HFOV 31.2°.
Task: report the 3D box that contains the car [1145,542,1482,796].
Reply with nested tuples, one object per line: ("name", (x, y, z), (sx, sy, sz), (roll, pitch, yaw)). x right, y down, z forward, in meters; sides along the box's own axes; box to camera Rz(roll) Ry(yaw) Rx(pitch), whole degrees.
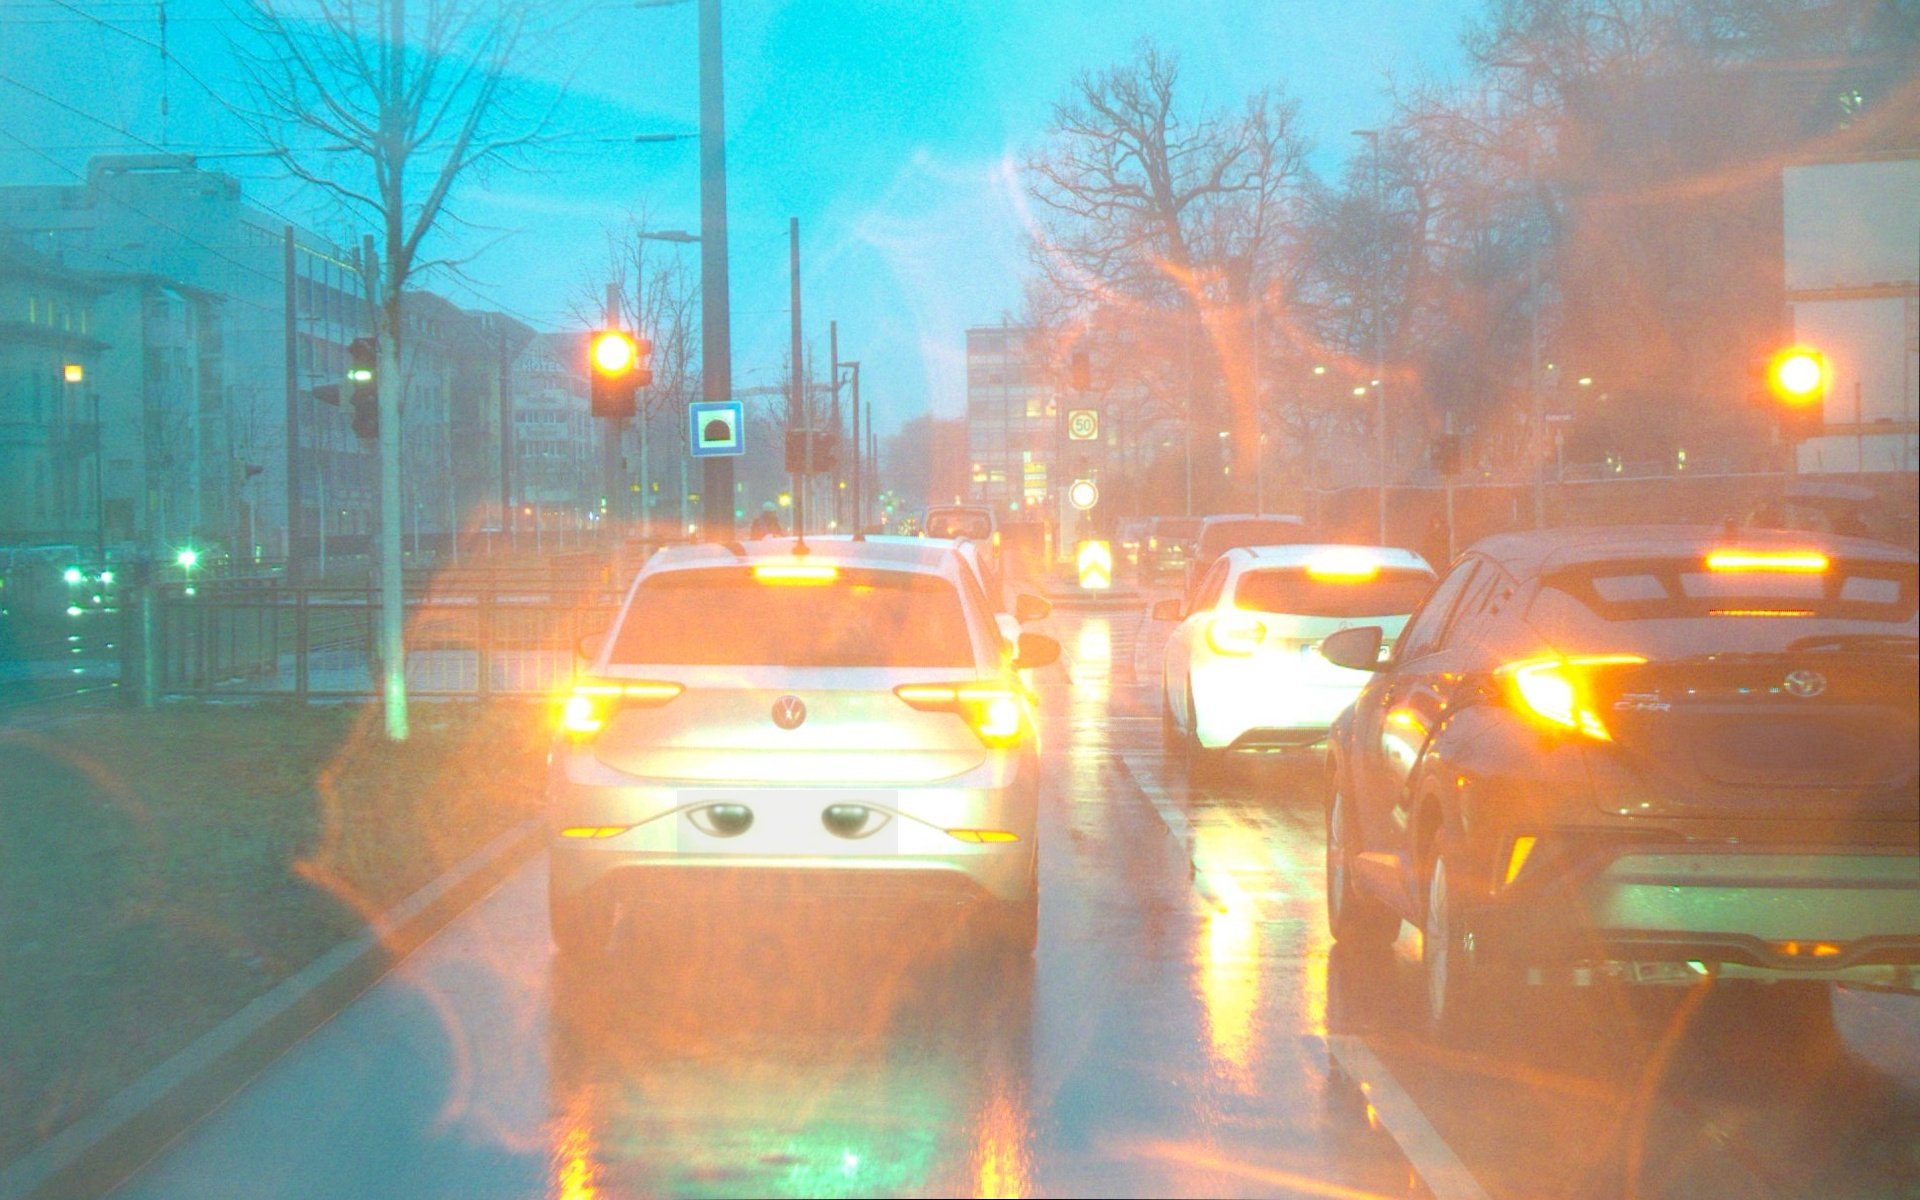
("car", (2.136, 0.369, 21.700), (1.745, 1.428, 3.731), (1, 1, 0))

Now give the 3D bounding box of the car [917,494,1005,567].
("car", (0.030, -1.437, 70.728), (1.737, 1.415, 4.394), (-1, 1, 0))

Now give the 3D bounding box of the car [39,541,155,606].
("car", (-22.186, -0.702, 88.533), (1.950, 1.597, 4.000), (1, 1, 0))

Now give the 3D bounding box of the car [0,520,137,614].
("car", (-16.213, -0.606, 61.647), (1.993, 1.597, 4.000), (1, 1, -1))

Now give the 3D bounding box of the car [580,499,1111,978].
("car", (-0.445, 0.398, 13.031), (1.693, 1.528, 4.001), (0, 1, -2))

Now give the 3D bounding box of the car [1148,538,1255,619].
("car", (4.482, -0.418, 64.187), (1.737, 1.415, 3.703), (-1, 1, 0))

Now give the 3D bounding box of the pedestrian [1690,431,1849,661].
("pedestrian", (7.231, -0.486, 30.745), (0.958, 2.007, 1.008), (-1, 1, -22))

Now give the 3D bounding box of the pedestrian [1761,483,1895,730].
("pedestrian", (7.213, 0.045, 28.612), (0.959, 2.007, 1.007), (-1, 1, 8))

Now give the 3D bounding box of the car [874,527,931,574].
("car", (-1.804, -1.587, 108.833), (1.737, 1.415, 3.804), (-1, 1, 0))

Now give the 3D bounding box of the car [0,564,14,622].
("car", (-22.108, -0.141, 75.930), (1.690, 1.273, 4.149), (-1, 1, -6))

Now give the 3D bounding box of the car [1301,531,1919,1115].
("car", (2.172, 0.543, 10.882), (1.800, 1.505, 3.895), (-1, 1, 0))

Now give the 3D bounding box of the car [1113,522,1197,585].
("car", (4.556, -1.111, 80.872), (1.737, 1.415, 4.146), (-1, 1, 0))

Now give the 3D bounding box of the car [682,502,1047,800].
("car", (-0.470, 0.199, 19.482), (1.799, 1.461, 4.586), (-1, 1, 0))

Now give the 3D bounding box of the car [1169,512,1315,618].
("car", (3.934, -0.521, 48.420), (1.737, 1.415, 3.703), (-1, 1, 0))
